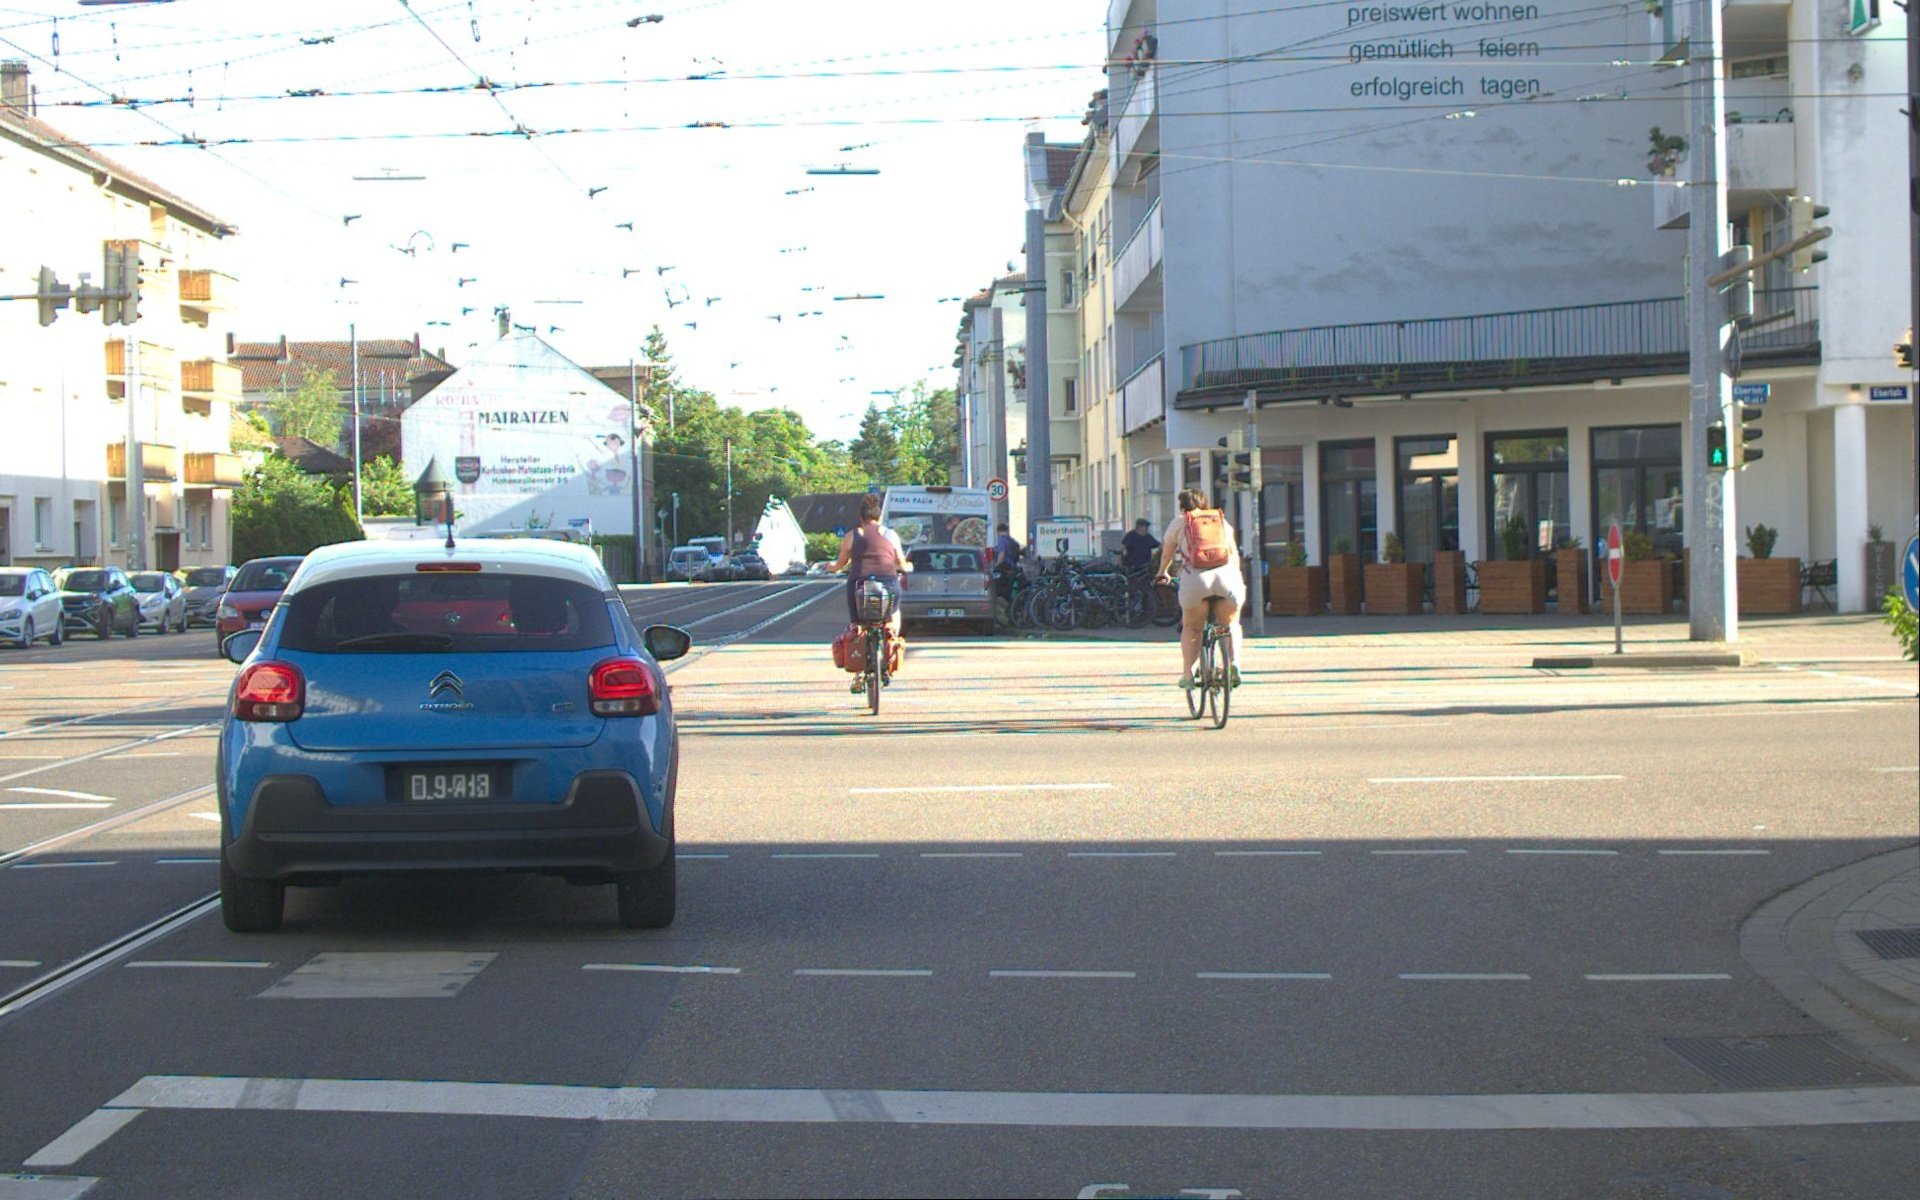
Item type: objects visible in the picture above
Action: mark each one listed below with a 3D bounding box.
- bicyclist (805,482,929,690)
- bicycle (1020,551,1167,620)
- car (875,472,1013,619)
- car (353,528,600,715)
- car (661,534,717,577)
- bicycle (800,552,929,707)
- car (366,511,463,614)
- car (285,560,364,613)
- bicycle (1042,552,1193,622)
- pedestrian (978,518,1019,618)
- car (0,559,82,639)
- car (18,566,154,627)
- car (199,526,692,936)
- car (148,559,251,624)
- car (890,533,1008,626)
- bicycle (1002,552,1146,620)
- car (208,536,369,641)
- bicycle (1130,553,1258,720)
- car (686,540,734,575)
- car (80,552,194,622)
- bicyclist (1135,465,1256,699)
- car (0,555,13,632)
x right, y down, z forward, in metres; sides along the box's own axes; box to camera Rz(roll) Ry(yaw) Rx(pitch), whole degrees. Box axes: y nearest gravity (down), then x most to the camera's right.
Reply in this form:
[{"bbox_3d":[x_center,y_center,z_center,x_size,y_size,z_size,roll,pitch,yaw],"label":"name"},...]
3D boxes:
[{"bbox_3d":[-0.760,-0.120,28.430,0.940,1.667,1.079,1,0,1],"label":"bicyclist"},{"bbox_3d":[2.114,-0.230,54.746,2.251,0.998,0.856,-2,1,-2],"label":"bicycle"},{"bbox_3d":[-0.327,-0.949,60.531,2.265,2.473,5.009,0,1,-2],"label":"car"},{"bbox_3d":[-4.245,0.145,30.660,1.784,1.516,3.763,1,1,-2],"label":"car"},{"bbox_3d":[-12.459,-2.050,158.469,2.218,1.925,4.949,1,1,0],"label":"car"},{"bbox_3d":[-0.768,0.225,28.396,0.940,1.219,2.094,1,1,1],"label":"bicycle"},{"bbox_3d":[-17.020,-1.159,107.442,2.418,3.131,3.488,1,1,0],"label":"car"},{"bbox_3d":[-19.741,-0.441,106.879,1.869,1.571,4.000,1,1,-3],"label":"car"},{"bbox_3d":[2.437,-0.207,53.369,2.251,0.998,0.856,-2,1,-2],"label":"bicycle"},{"bbox_3d":[0.636,-0.537,57.295,0.613,1.648,0.671,1,0,-2],"label":"pedestrian"},{"bbox_3d":[-18.788,-0.041,68.089,1.741,1.521,4.230,1,1,-1],"label":"car"},{"bbox_3d":[-18.929,-0.096,74.621,1.947,1.235,4.283,1,1,-2],"label":"car"},{"bbox_3d":[-2.067,0.439,14.058,1.736,1.447,3.663,0,1,-8],"label":"car"},{"bbox_3d":[-19.199,-0.222,86.905,1.869,1.571,4.000,1,1,-3],"label":"car"},{"bbox_3d":[-0.204,-0.344,55.495,1.657,1.426,3.889,1,1,-4],"label":"car"},{"bbox_3d":[1.848,-0.232,55.863,2.251,0.998,0.856,-2,1,-2],"label":"bicycle"},{"bbox_3d":[-10.047,-0.187,51.691,1.778,1.481,3.829,-1,1,-2],"label":"car"},{"bbox_3d":[1.755,0.250,25.478,0.811,1.177,2.063,1,1,7],"label":"bicycle"},{"bbox_3d":[-12.817,-2.170,176.377,2.074,1.756,5.037,1,1,0],"label":"car"},{"bbox_3d":[-19.311,-0.320,80.842,1.869,1.571,4.000,1,1,-3],"label":"car"},{"bbox_3d":[1.749,-0.138,25.394,0.811,1.686,0.935,1,0,7],"label":"bicyclist"},{"bbox_3d":[-18.940,-0.122,63.156,1.903,1.431,4.102,1,1,1],"label":"car"}]
